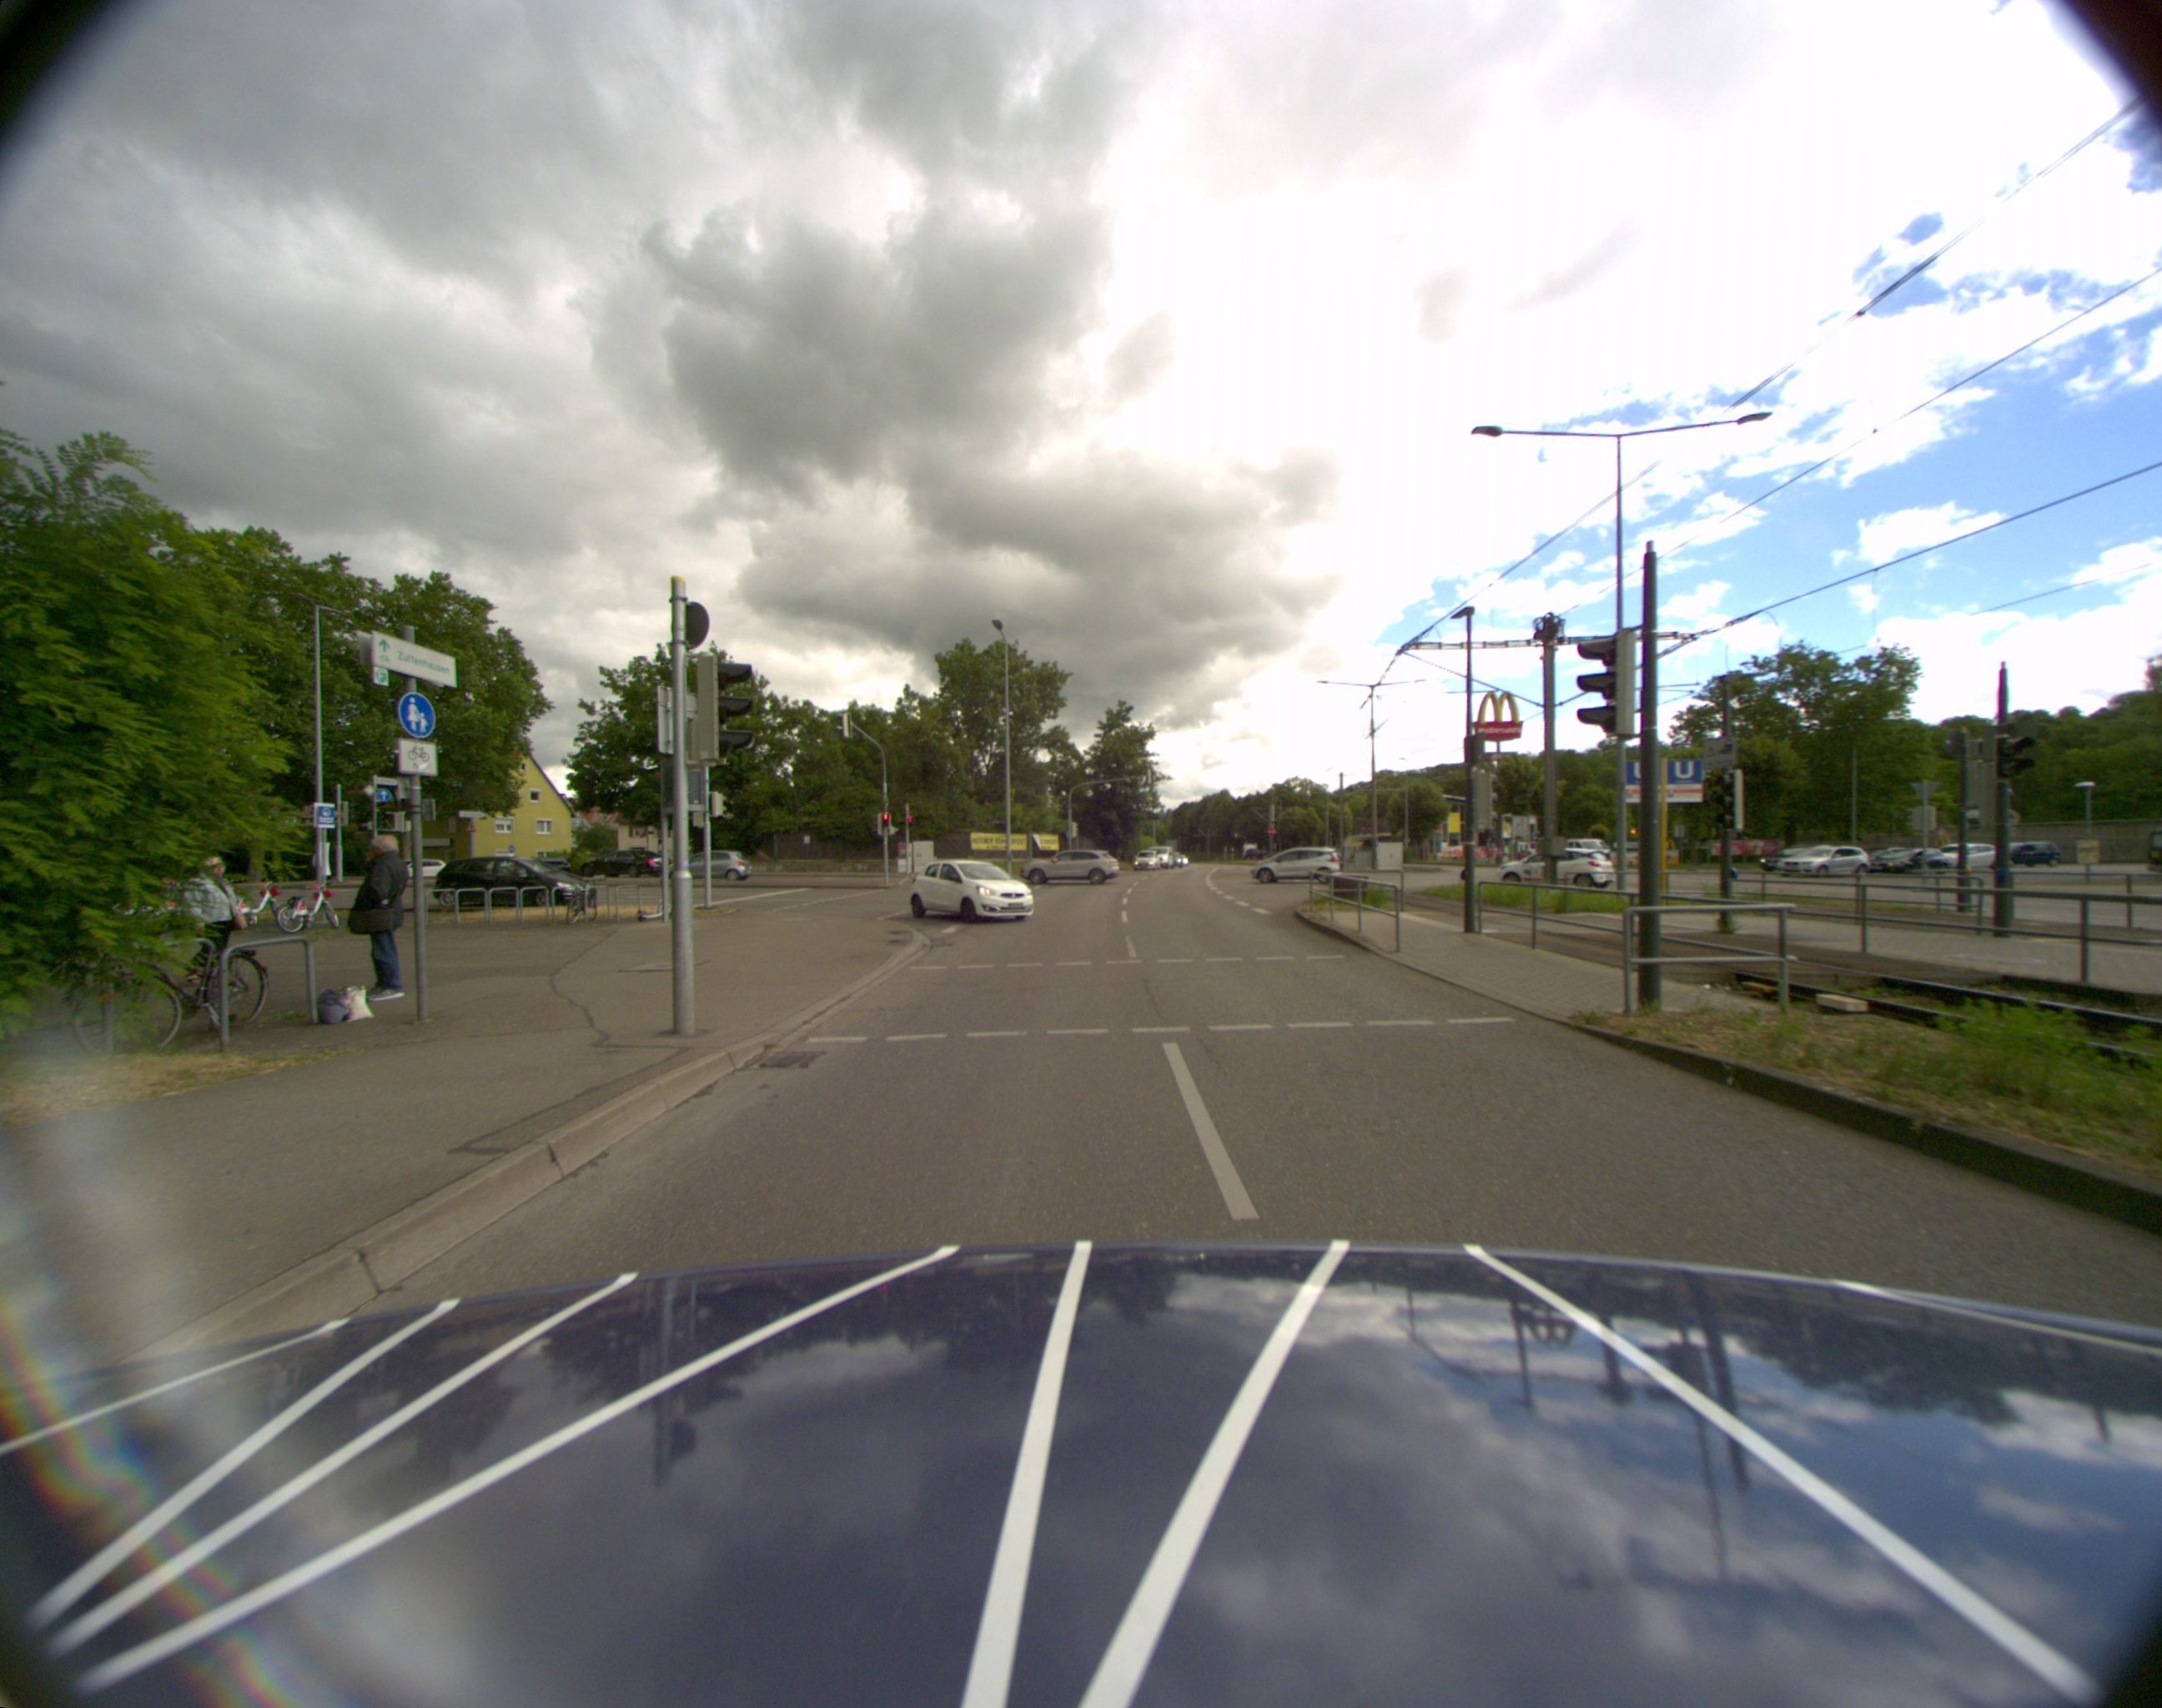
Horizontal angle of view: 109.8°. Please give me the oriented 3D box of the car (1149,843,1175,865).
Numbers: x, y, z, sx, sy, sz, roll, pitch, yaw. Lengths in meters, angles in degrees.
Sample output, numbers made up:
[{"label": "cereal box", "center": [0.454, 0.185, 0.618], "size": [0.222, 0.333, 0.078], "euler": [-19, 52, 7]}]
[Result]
[{"label": "car", "center": [6.947, -0.020, 64.942], "size": [1.807, 1.814, 4.003], "euler": [0, 0, 12]}]

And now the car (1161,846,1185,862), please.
[{"label": "car", "center": [9.212, 0.007, 76.056], "size": [1.996, 1.527, 4.003], "euler": [1, 1, 12]}]

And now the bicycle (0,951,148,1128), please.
[{"label": "bicycle", "center": [-6.789, 1.067, 4.494], "size": [1.871, 0.919, 0.545], "euler": [0, -1, 0]}]

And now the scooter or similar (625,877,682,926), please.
[{"label": "scooter or similar", "center": [-10.461, 1.149, 18.623], "size": [0.654, 1.105, 1.231], "euler": [0, 1, 2]}]

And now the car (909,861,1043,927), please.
[{"label": "car", "center": [-2.705, 0.930, 19.066], "size": [1.678, 1.439, 3.594], "euler": [-1, 1, -40]}]

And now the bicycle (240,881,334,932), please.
[{"label": "bicycle", "center": [-19.413, 1.259, 18.633], "size": [0.582, 1.109, 1.813], "euler": [1, 1, -8]}]

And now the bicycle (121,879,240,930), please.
[{"label": "bicycle", "center": [-20.961, 1.157, 17.750], "size": [0.598, 1.045, 1.883], "euler": [1, 1, -3]}]

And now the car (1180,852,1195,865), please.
[{"label": "car", "center": [14.108, 0.565, 100.437], "size": [1.829, 1.543, 4.003], "euler": [1, 1, 10]}]

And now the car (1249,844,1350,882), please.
[{"label": "car", "center": [9.951, 0.375, 34.669], "size": [4.112, 1.631, 1.754], "euler": [0, 1, 31]}]

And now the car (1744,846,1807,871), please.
[{"label": "car", "center": [42.039, 0.259, 45.970], "size": [3.647, 1.424, 1.792], "euler": [-1, 1, -30]}]

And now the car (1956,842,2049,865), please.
[{"label": "car", "center": [62.294, -0.025, 51.414], "size": [3.634, 1.545, 1.729], "euler": [0, 1, 17]}]

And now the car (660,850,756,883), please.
[{"label": "car", "center": [-17.779, 0.578, 36.359], "size": [3.788, 1.479, 1.675], "euler": [-1, 1, -8]}]

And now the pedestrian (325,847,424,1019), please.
[{"label": "pedestrian", "center": [-7.534, 0.805, 8.126], "size": [0.691, 1.744, 0.418], "euler": [-3, 2, -42]}]

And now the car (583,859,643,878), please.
[{"label": "car", "center": [-36.935, 1.094, 60.077], "size": [1.659, 1.390, 3.884], "euler": [1, 1, 19]}]

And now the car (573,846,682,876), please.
[{"label": "car", "center": [-24.224, 0.376, 40.643], "size": [4.987, 1.442, 1.833], "euler": [1, 1, 10]}]

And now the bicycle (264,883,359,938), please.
[{"label": "bicycle", "center": [-17.936, 1.290, 17.772], "size": [0.582, 1.109, 1.813], "euler": [1, 1, -8]}]

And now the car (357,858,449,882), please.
[{"label": "car", "center": [-40.350, 0.915, 45.334], "size": [1.809, 1.313, 3.805], "euler": [-1, 0, 8]}]

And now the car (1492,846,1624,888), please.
[{"label": "car", "center": [17.602, 0.437, 28.177], "size": [1.635, 1.446, 3.819], "euler": [-1, 1, -36]}]

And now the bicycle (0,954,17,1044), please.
[{"label": "bicycle", "center": [-10.024, 1.335, 6.248], "size": [0.478, 0.803, 1.513], "euler": [-2, 0, -5]}]

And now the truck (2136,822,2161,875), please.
[{"label": "truck", "center": [53.356, -0.272, 35.097], "size": [5.820, 2.480, 2.386], "euler": [0, 1, 1]}]

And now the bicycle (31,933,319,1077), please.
[{"label": "bicycle", "center": [-7.671, 1.217, 6.584], "size": [0.524, 0.901, 1.850], "euler": [1, -1, -10]}]

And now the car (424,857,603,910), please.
[{"label": "car", "center": [-17.745, 0.882, 23.924], "size": [4.186, 1.522, 1.720], "euler": [0, 1, -6]}]

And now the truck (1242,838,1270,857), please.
[{"label": "truck", "center": [34.002, -1.274, 148.140], "size": [3.435, 3.539, 8.698], "euler": [1, 1, 0]}]

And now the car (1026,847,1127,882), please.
[{"label": "car", "center": [-0.186, 0.492, 37.531], "size": [4.849, 1.633, 1.677], "euler": [-1, 1, 6]}]

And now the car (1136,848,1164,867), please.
[{"label": "car", "center": [5.380, 0.245, 58.831], "size": [1.718, 1.410, 4.003], "euler": [1, 1, 10]}]

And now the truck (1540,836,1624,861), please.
[{"label": "truck", "center": [39.895, -0.449, 60.795], "size": [2.599, 1.894, 6.197], "euler": [1, 1, 0]}]

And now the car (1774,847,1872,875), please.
[{"label": "car", "center": [40.869, 0.342, 41.877], "size": [4.420, 1.424, 1.794], "euler": [-1, 1, -13]}]

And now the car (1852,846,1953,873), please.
[{"label": "car", "center": [46.416, 0.281, 42.948], "size": [4.284, 1.424, 1.794], "euler": [-1, 1, -9]}]

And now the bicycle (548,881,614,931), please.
[{"label": "bicycle", "center": [-11.918, 1.218, 18.161], "size": [0.608, 1.039, 1.699], "euler": [-1, 1, -7]}]
